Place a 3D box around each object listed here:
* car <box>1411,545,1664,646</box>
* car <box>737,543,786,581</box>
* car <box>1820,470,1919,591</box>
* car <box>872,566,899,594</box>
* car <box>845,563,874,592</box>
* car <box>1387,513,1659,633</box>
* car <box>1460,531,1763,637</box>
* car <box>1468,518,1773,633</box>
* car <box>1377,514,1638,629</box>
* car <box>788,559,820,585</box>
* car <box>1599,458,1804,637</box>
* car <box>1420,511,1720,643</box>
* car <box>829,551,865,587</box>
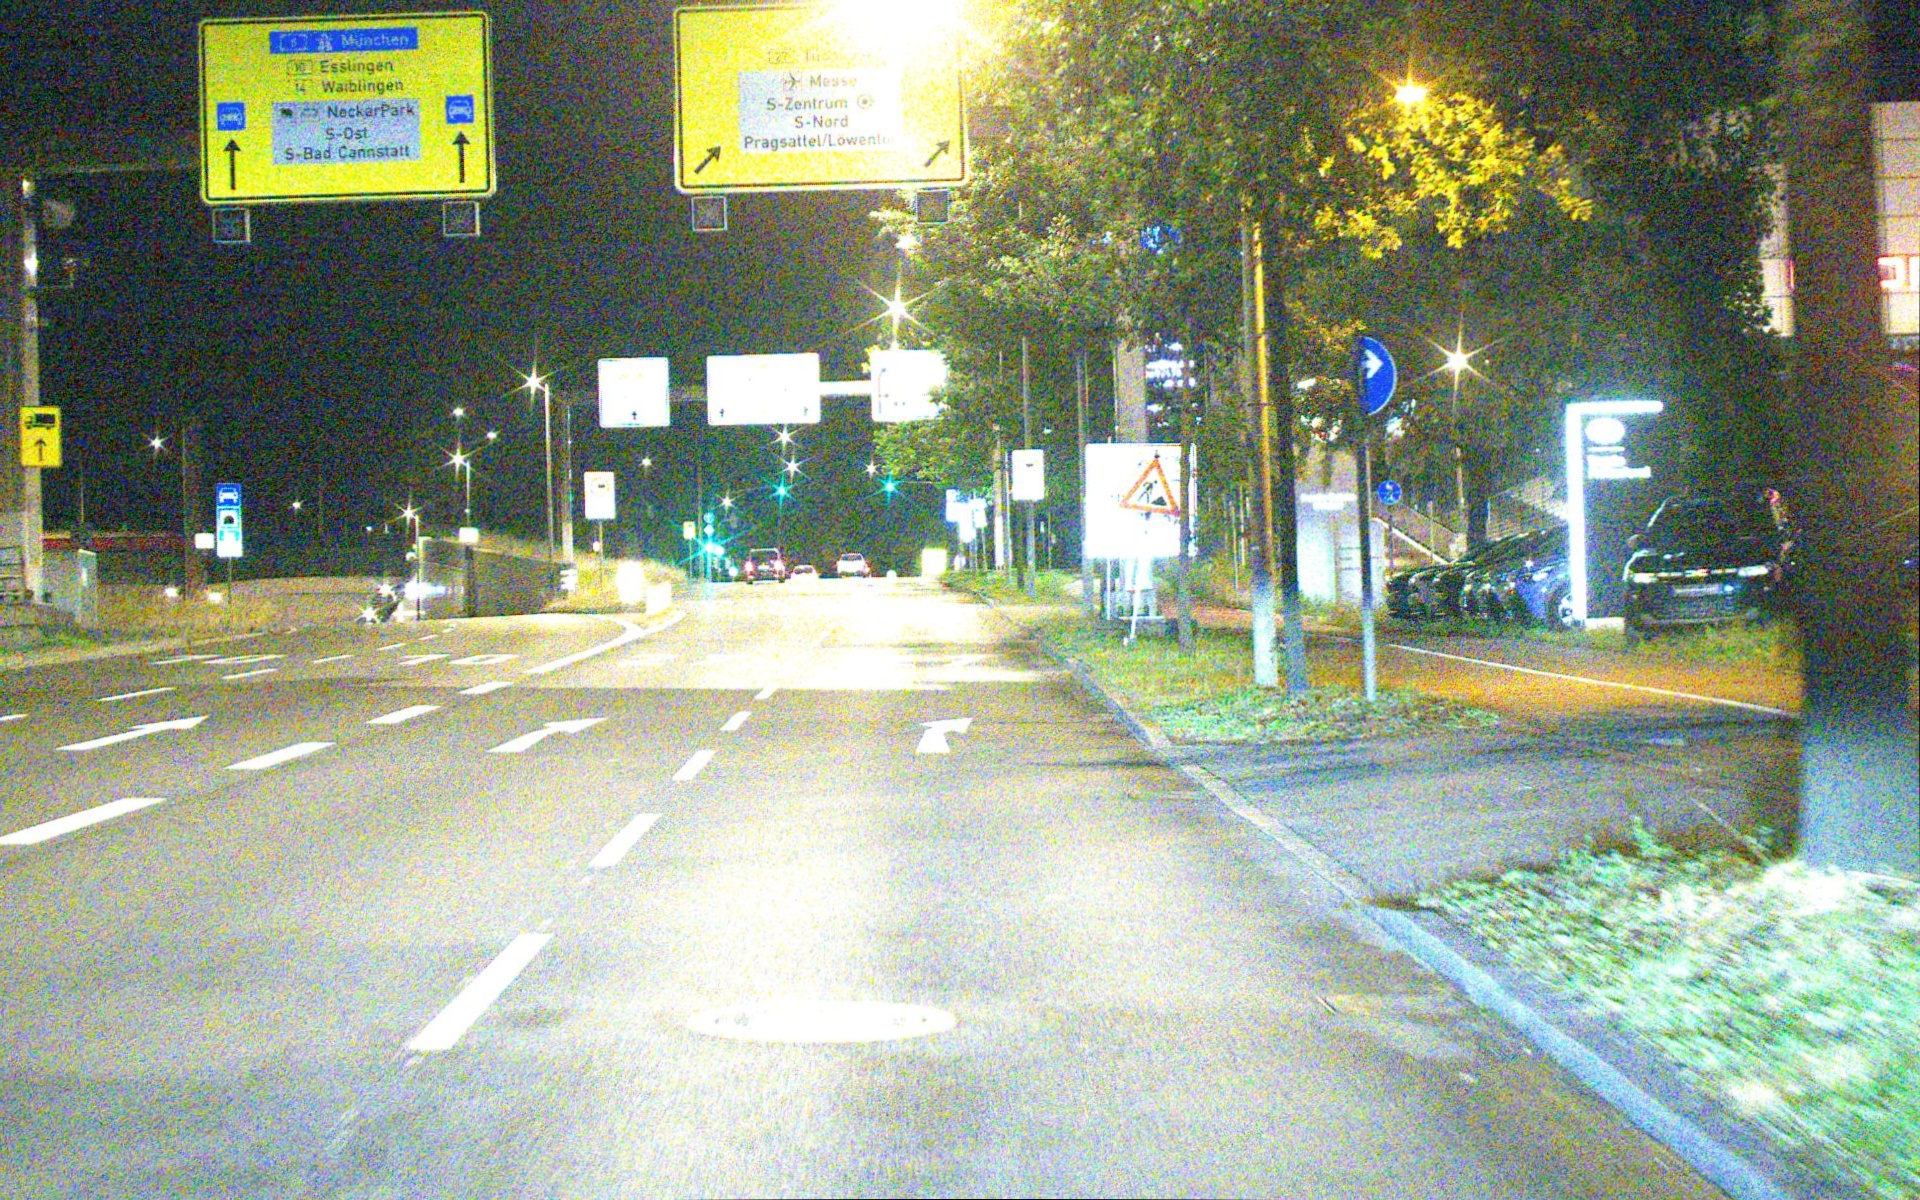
[{"bbox_3d":[8.846,-0.056,52.845,3.510,1.503,1.736,1,-1,-4],"label":"car"},{"bbox_3d":[-9.358,-1.775,162.290,1.968,1.705,4.000,0,-1,2],"label":"car"},{"bbox_3d":[12.811,-0.899,46.307,1.893,1.506,3.635,0,-1,6],"label":"car"},{"bbox_3d":[-5.077,-1.386,234.623,1.838,1.831,4.000,1,-1,-1],"label":"car"},{"bbox_3d":[-6.295,-1.397,216.395,1.781,1.722,4.000,1,-1,-1],"label":"car"},{"bbox_3d":[9.024,-0.420,55.308,3.986,1.850,1.822,1,-1,-4],"label":"car"},{"bbox_3d":[9.010,-0.214,47.713,3.824,1.406,1.711,1,-1,-3],"label":"car"},{"bbox_3d":[8.691,-0.310,45.414,3.624,1.446,1.708,1,-1,-4],"label":"car"},{"bbox_3d":[9.109,-0.456,57.394,3.986,1.850,1.822,1,-1,-4],"label":"car"},{"bbox_3d":[-10.328,-1.865,228.104,1.993,1.590,4.000,-1,-1,-1],"label":"car"},{"bbox_3d":[8.582,-0.556,39.560,1.995,1.938,3.996,0,-1,17],"label":"car"},{"bbox_3d":[8.902,-0.316,50.369,3.986,1.850,1.822,1,-1,-4],"label":"car"},{"bbox_3d":[-6.608,-1.788,201.527,1.993,2.007,4.000,1,-1,-1],"label":"car"}]
